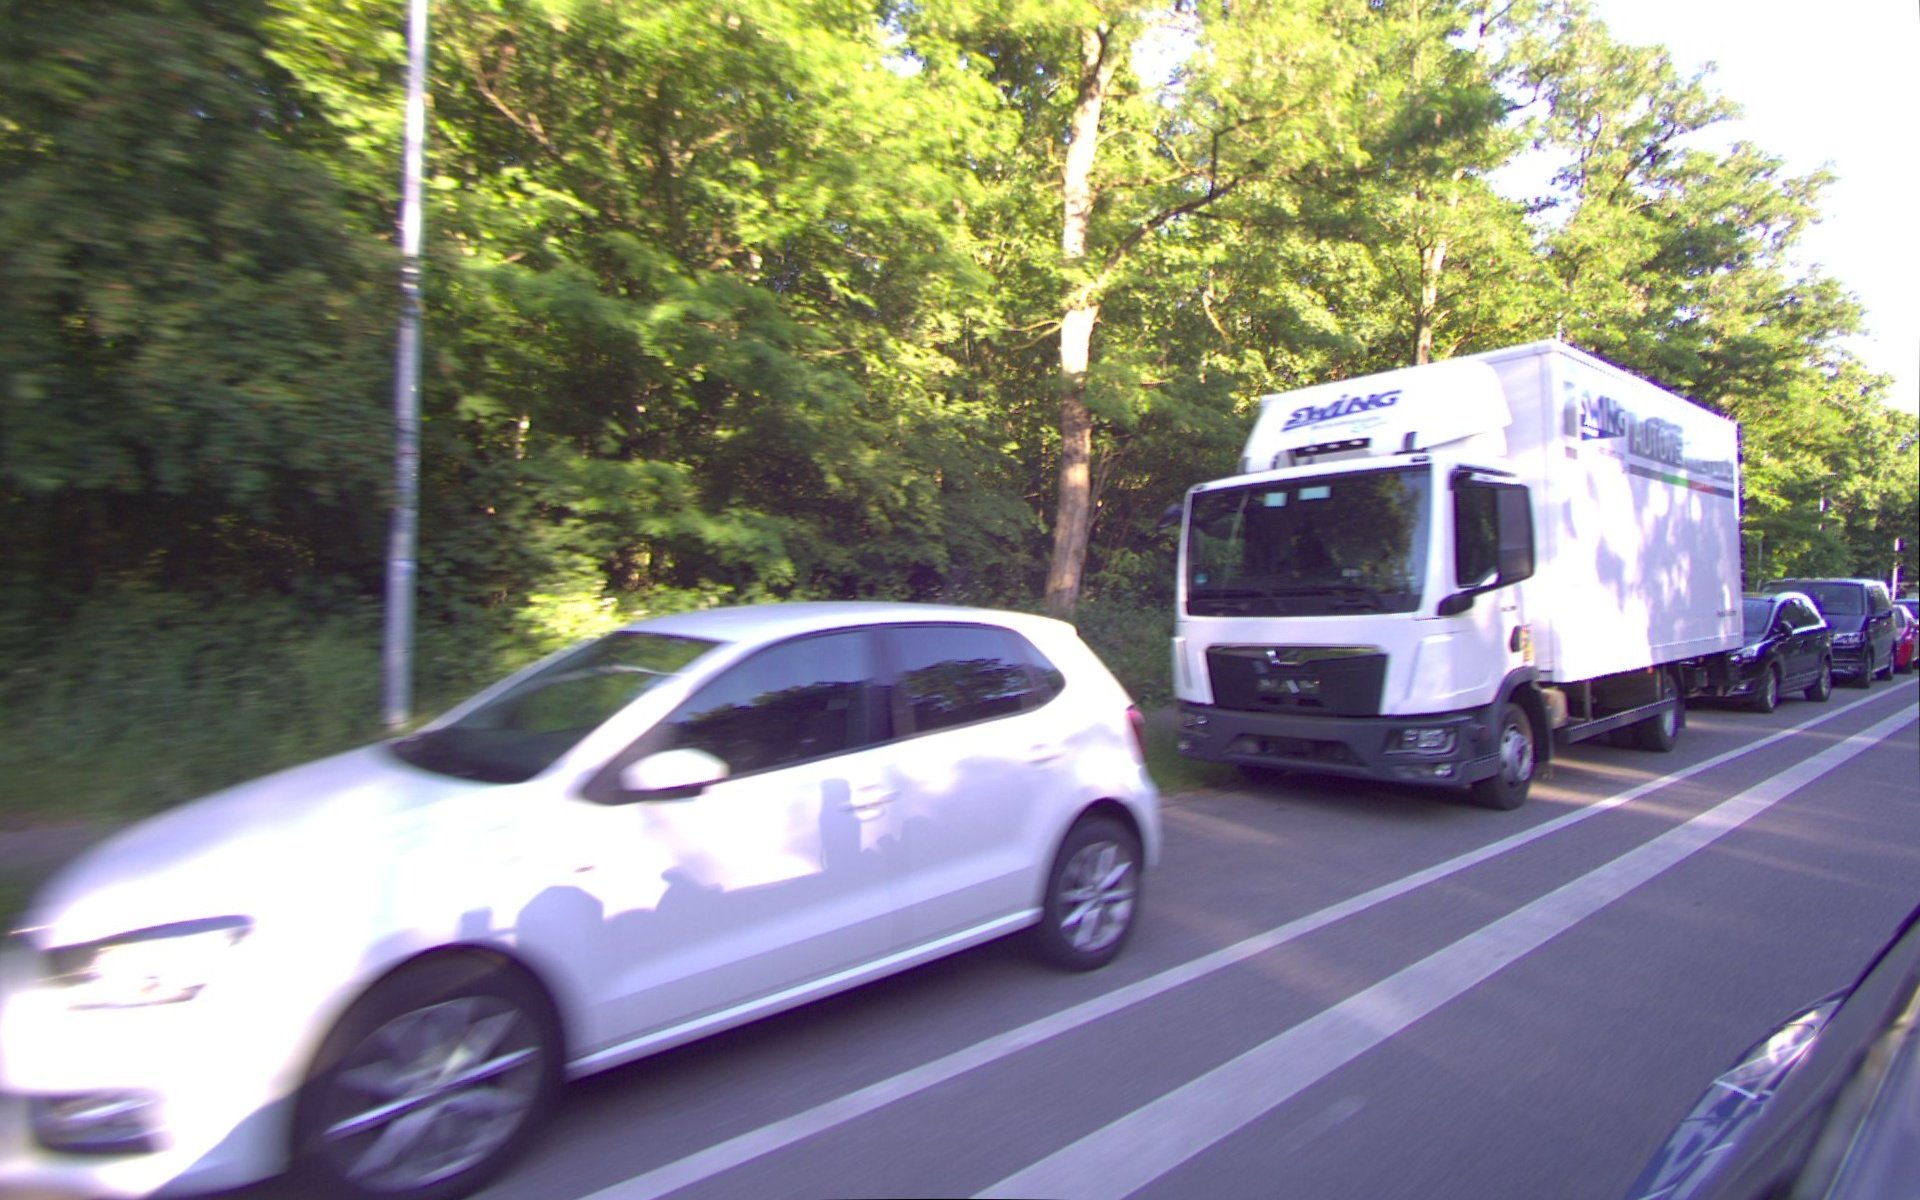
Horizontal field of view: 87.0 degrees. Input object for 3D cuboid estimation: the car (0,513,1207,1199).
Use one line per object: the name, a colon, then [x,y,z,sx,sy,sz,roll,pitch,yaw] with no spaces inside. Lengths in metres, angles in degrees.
car: [-0.962,0.629,3.760,3.930,1.588,1.714,0,0,-41]

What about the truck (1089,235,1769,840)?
truck: [5.134,-0.423,9.828,8.431,3.541,2.837,0,2,-42]

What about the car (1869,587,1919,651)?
car: [25.930,0.494,27.123,3.958,1.614,1.802,0,2,-41]

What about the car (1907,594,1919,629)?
car: [44.507,0.521,46.105,4.288,1.543,1.739,0,2,-44]

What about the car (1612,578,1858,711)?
car: [11.490,0.563,14.933,3.953,1.677,1.805,0,2,-36]

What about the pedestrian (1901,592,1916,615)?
pedestrian: [75.715,0.266,80.796,0.721,1.821,0.808,0,2,-42]

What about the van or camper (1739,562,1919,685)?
van or camper: [16.519,0.362,19.154,4.506,2.038,1.901,0,2,-41]
